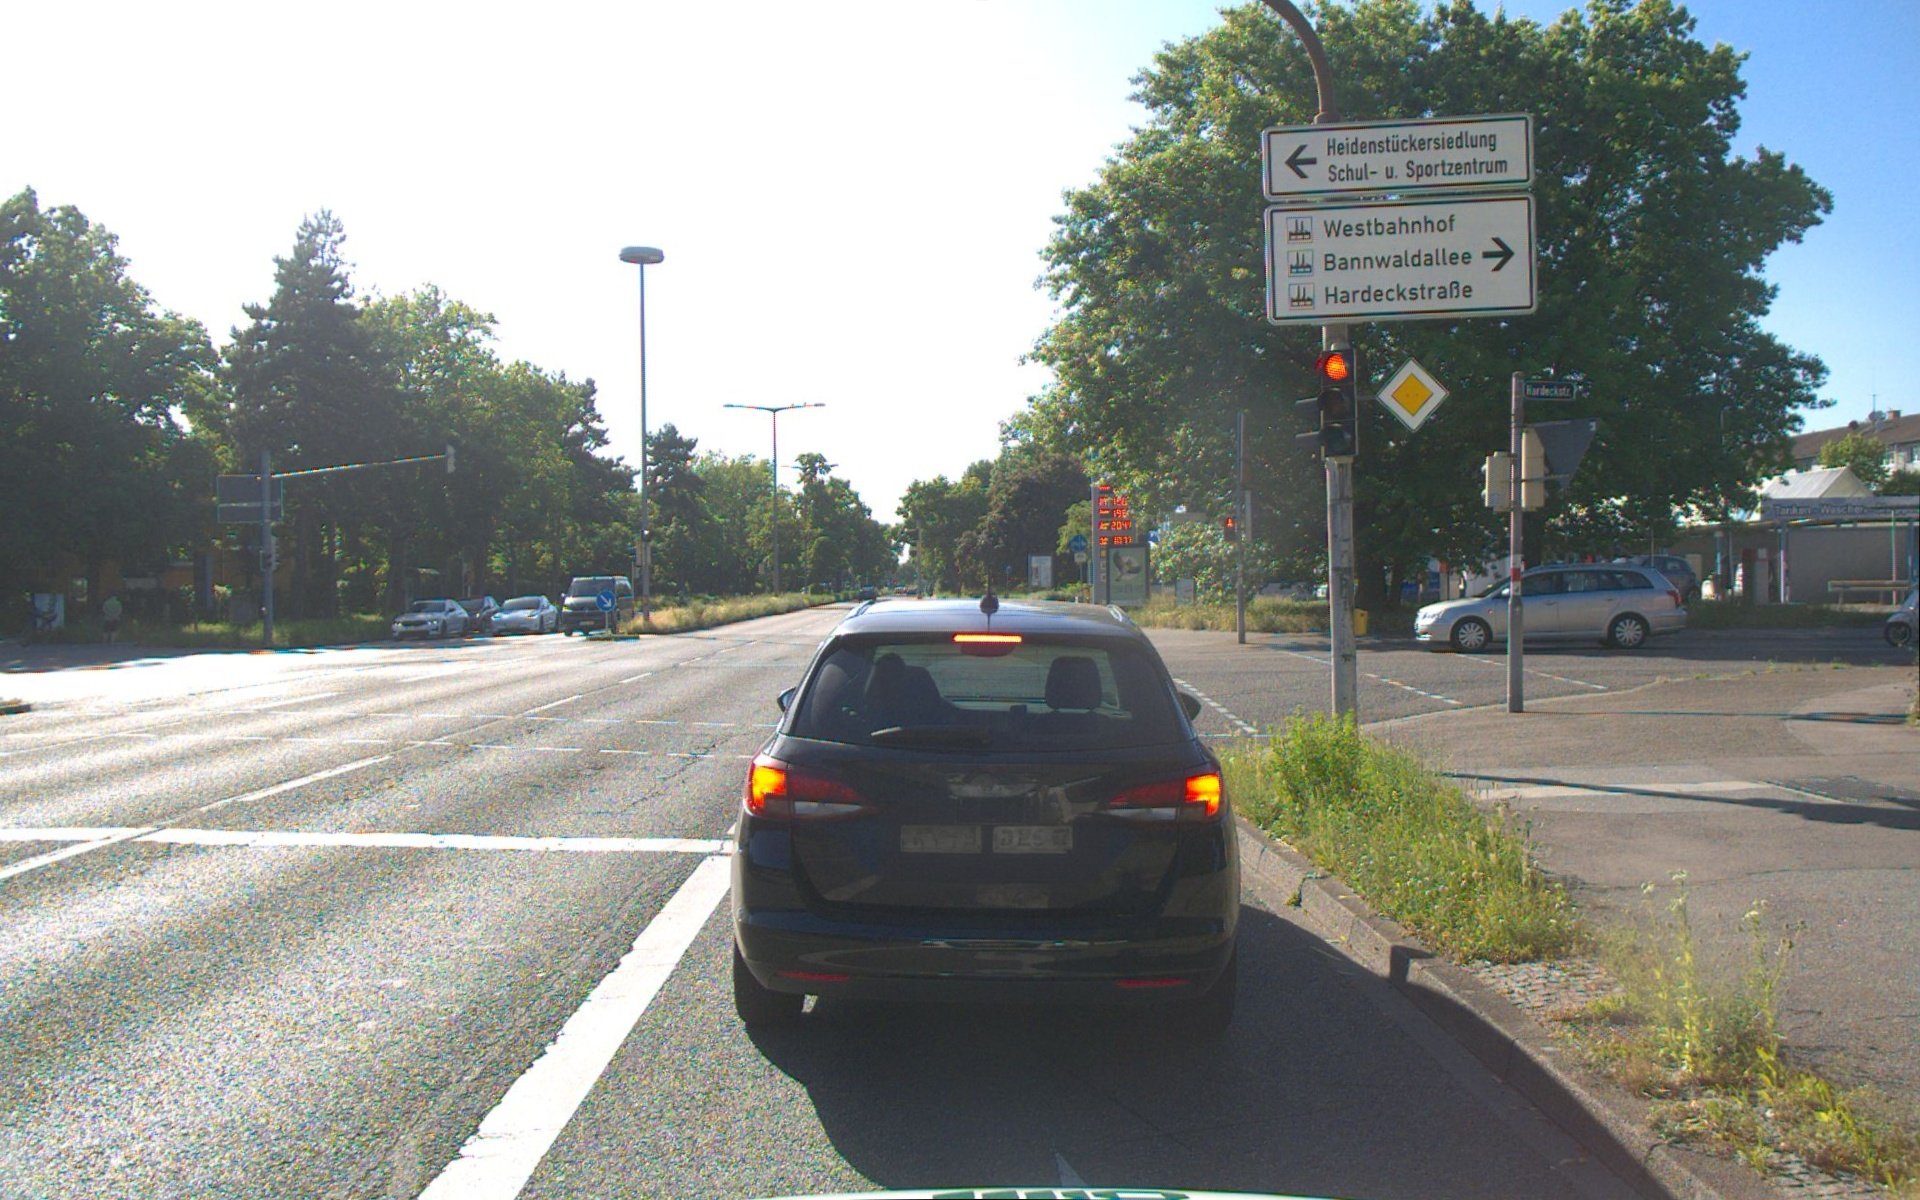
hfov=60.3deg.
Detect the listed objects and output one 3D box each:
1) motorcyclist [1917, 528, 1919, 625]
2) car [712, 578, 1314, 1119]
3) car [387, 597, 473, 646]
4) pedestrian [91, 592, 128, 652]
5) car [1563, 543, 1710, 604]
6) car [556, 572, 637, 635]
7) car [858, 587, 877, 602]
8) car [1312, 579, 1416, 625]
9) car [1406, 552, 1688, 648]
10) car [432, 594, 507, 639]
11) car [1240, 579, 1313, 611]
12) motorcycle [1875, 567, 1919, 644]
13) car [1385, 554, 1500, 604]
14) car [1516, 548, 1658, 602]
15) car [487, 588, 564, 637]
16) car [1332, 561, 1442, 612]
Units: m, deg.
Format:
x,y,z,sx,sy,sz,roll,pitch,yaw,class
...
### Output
x,y,z,sx,sy,sz,roll,pitch,yaw,class
17.103,-0.403,28.508,0.842,1.709,0.835,1,-1,15,motorcyclist
0.121,0.711,6.629,1.720,1.535,3.807,0,0,-1,car
-19.697,0.791,61.606,1.826,1.713,4.259,1,0,-1,car
-26.843,0.701,52.223,0.828,1.867,0.550,-1,0,3,pedestrian
19.752,-0.748,48.298,3.779,1.640,1.794,1,0,-20,car
-12.602,0.125,57.626,1.953,2.049,3.999,1,0,-1,car
-9.851,-0.558,176.099,1.850,1.579,3.999,-1,0,-1,car
15.889,0.090,65.149,3.638,1.714,1.703,1,0,-4,car
10.510,0.020,29.935,4.519,1.601,2.002,-1,-1,10,car
-20.368,0.689,68.812,1.953,1.780,3.999,1,0,-1,car
17.610,-0.265,92.083,3.638,1.714,1.703,1,0,-4,car
17.338,0.120,28.445,2.667,1.293,0.835,1,0,15,motorcycle
16.637,-0.698,56.986,3.800,1.590,1.785,2,0,-33,car
18.955,-0.729,50.042,3.779,1.508,1.794,1,0,-20,car
-16.427,0.452,62.727,1.826,1.713,3.999,-2,0,-1,car
15.318,-0.471,59.324,3.668,1.714,1.689,1,0,-28,car
